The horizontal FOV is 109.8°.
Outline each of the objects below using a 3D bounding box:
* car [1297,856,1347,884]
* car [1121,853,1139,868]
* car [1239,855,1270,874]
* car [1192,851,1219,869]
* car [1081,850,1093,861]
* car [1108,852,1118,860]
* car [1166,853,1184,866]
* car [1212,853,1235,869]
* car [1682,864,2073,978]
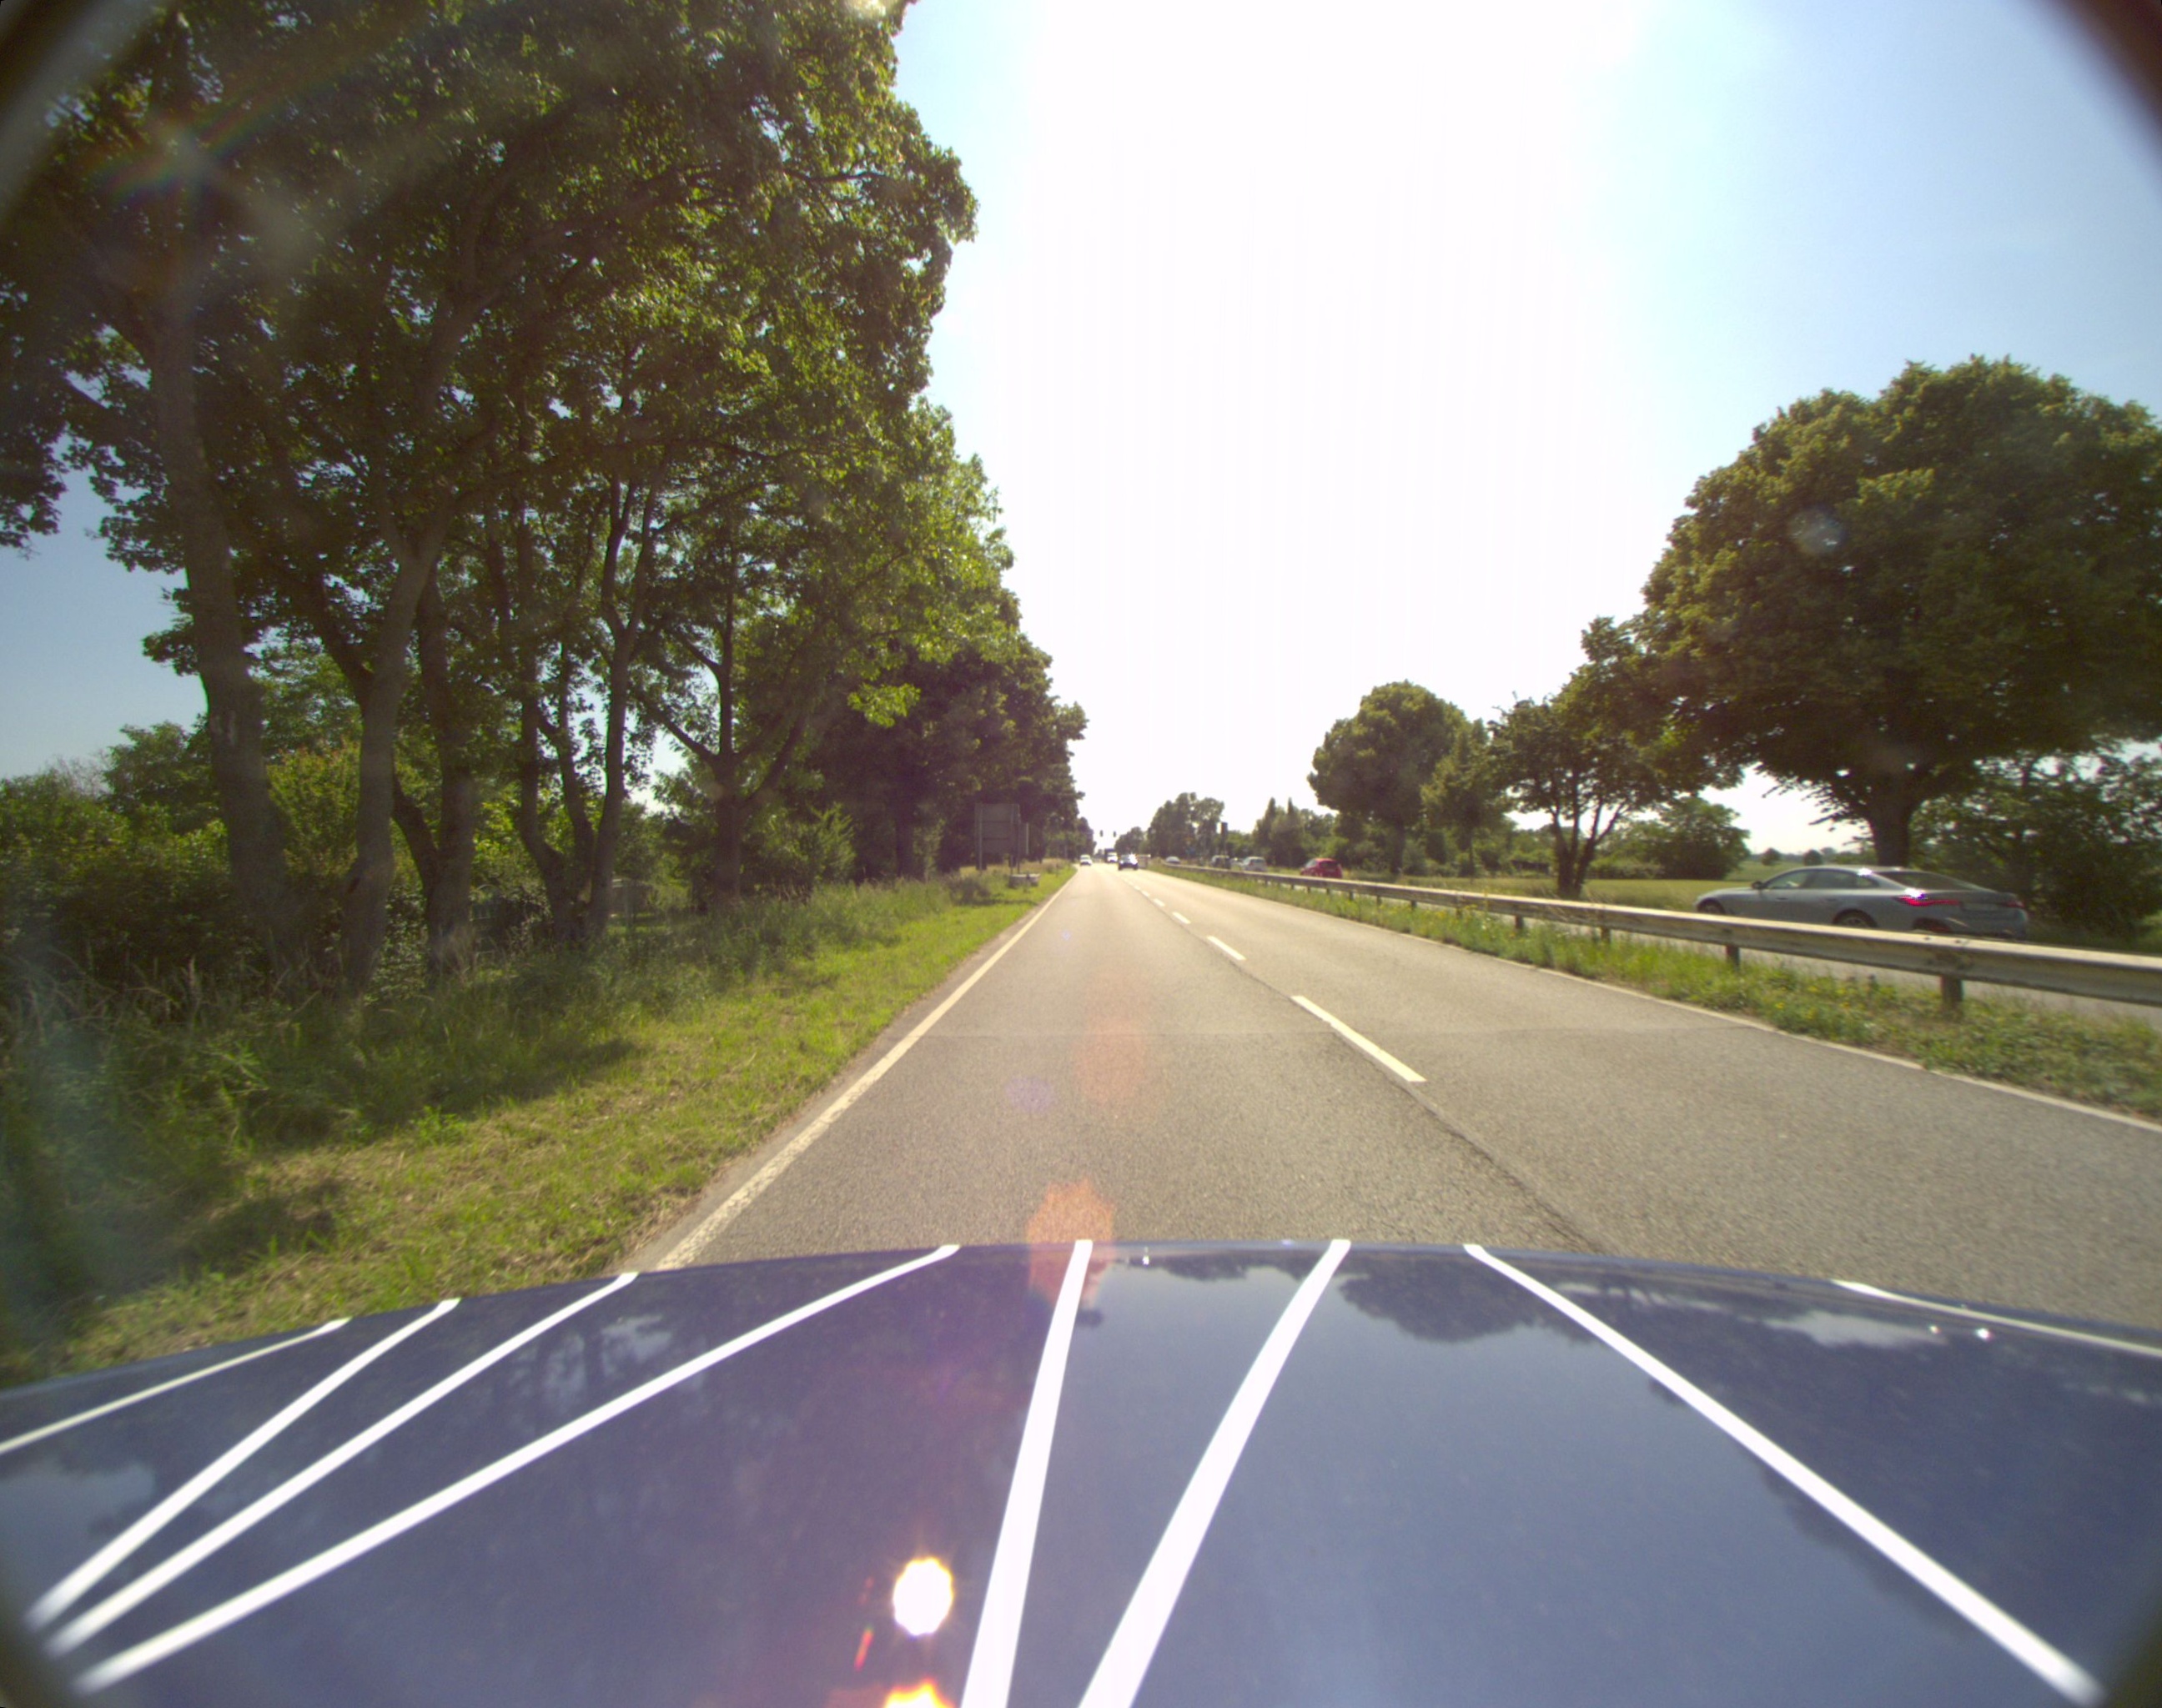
[{"bbox_3d":[14.304,0.901,45.239,1.765,1.581,3.894,0,0,0],"label":"car"},{"bbox_3d":[5.228,0.690,81.471,1.860,1.507,4.100,-1,0,3],"label":"car"},{"bbox_3d":[14.977,0.856,65.742,1.765,1.581,3.894,0,0,0],"label":"car"},{"bbox_3d":[11.196,0.515,68.485,1.765,1.581,3.750,0,0,0],"label":"car"},{"bbox_3d":[0.937,0.215,125.768,1.777,1.863,4.580,0,0,-2],"label":"car"},{"bbox_3d":[6.871,0.377,162.936,1.886,1.775,4.000,0,0,1],"label":"car"},{"bbox_3d":[12.072,0.651,97.810,1.765,1.581,3.750,0,0,0],"label":"car"},{"bbox_3d":[15.333,0.738,81.880,1.765,1.581,3.894,0,0,0],"label":"car"},{"bbox_3d":[13.658,1.023,13.635,1.960,1.581,4.865,0,0,1],"label":"car"}]
